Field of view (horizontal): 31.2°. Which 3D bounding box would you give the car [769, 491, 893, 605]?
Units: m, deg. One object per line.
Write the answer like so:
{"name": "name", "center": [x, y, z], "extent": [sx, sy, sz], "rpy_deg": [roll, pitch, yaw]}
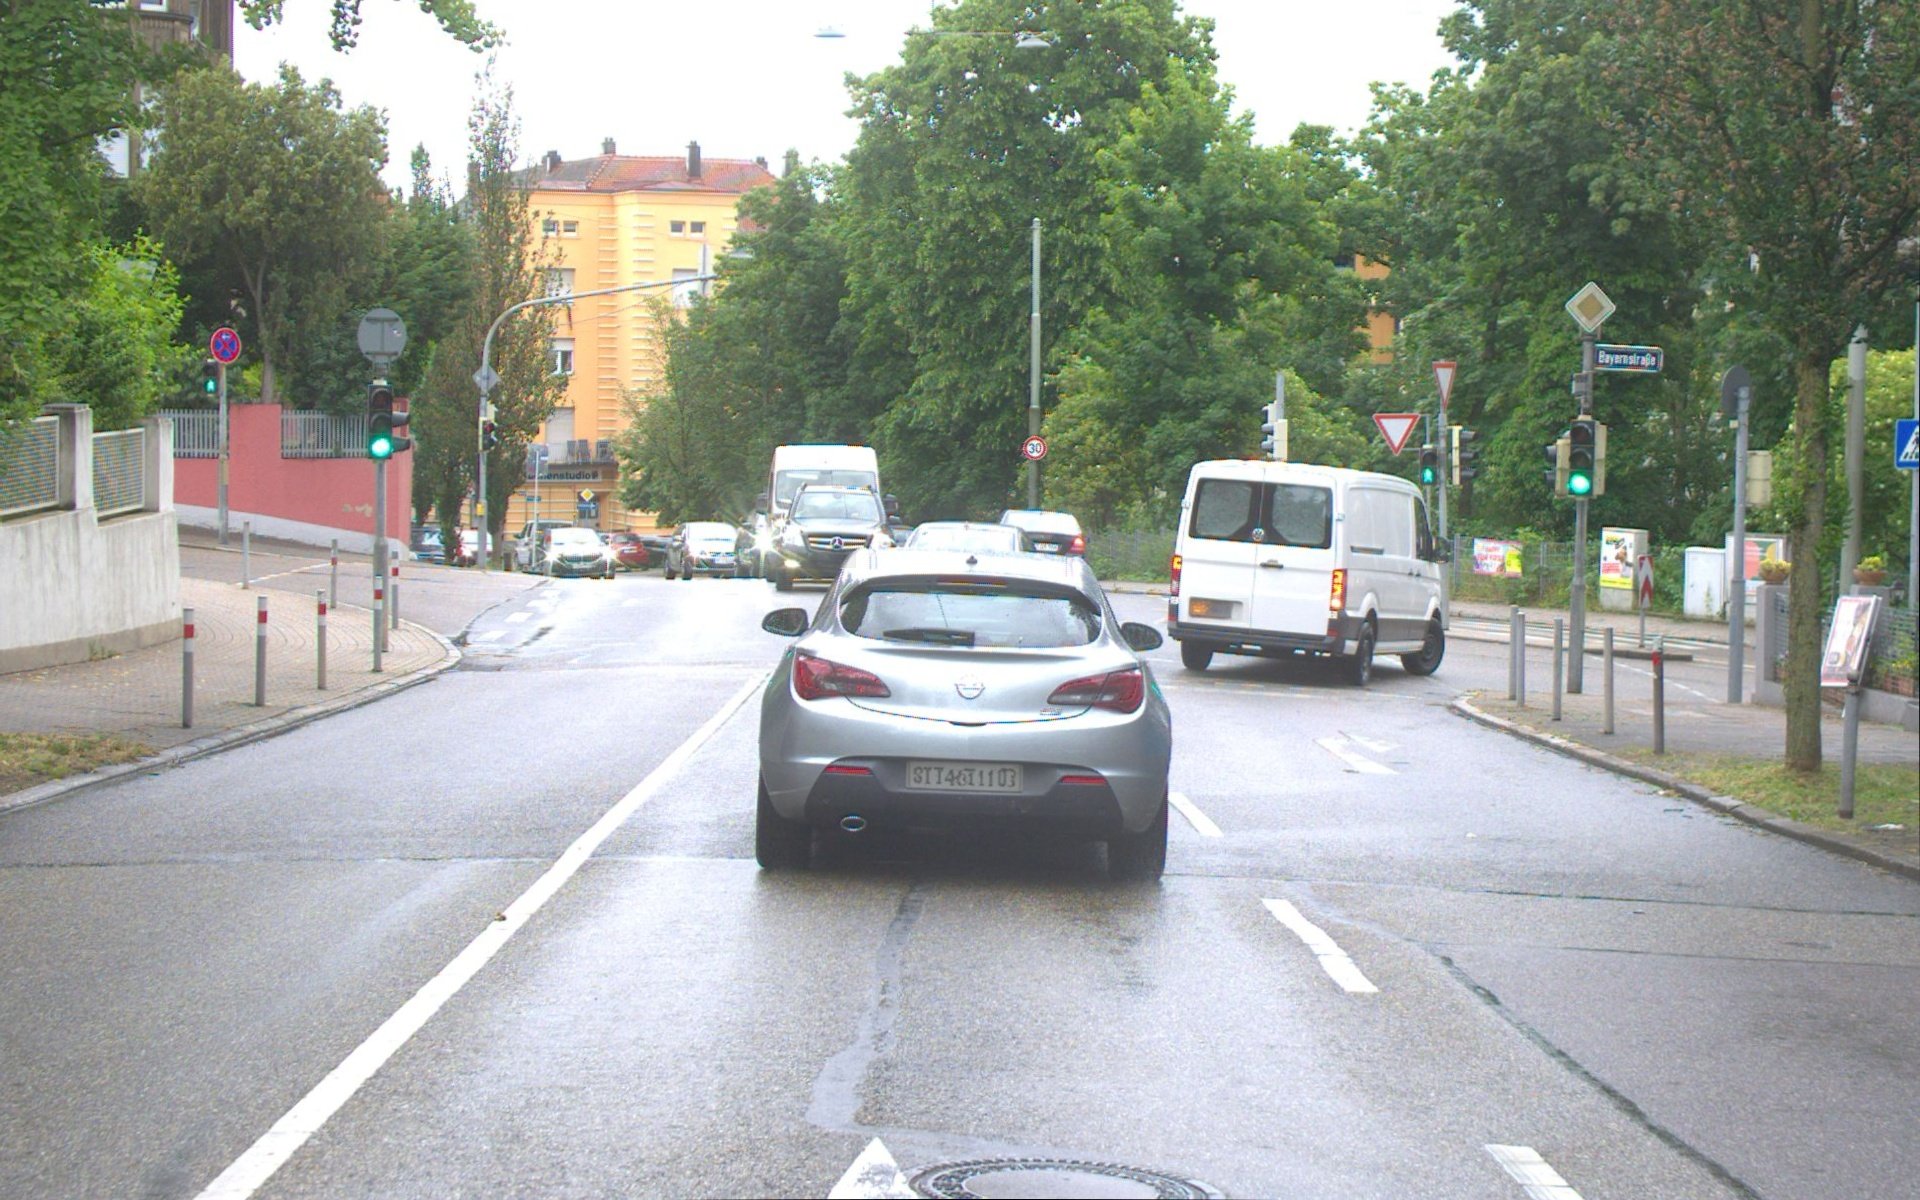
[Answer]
{"name": "car", "center": [-2.062, -0.861, 54.165], "extent": [1.821, 1.646, 4.347], "rpy_deg": [2, 2, -3]}

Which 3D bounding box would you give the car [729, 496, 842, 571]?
{"name": "car", "center": [-3.909, -1.467, 76.209], "extent": [1.874, 1.569, 4.587], "rpy_deg": [1, 1, -11]}

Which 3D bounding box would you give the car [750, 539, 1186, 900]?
{"name": "car", "center": [0.016, 0.473, 16.546], "extent": [1.815, 1.425, 4.001], "rpy_deg": [1, 2, -1]}

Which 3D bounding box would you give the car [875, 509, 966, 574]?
{"name": "car", "center": [-0.959, -1.367, 81.422], "extent": [1.620, 1.481, 3.437], "rpy_deg": [0, 0, -10]}

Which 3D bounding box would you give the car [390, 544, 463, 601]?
{"name": "car", "center": [-15.959, -0.816, 102.691], "extent": [1.814, 1.607, 4.001], "rpy_deg": [2, 0, -13]}

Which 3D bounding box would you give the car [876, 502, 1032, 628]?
{"name": "car", "center": [-0.095, -0.386, 41.077], "extent": [1.776, 1.425, 3.785], "rpy_deg": [0, 0, -1]}

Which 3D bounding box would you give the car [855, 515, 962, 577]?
{"name": "car", "center": [-1.423, -1.465, 93.829], "extent": [1.814, 1.490, 4.001], "rpy_deg": [-5, 1, -16]}

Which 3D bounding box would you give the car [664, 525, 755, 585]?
{"name": "car", "center": [-6.439, -1.153, 87.951], "extent": [1.773, 1.492, 4.264], "rpy_deg": [0, 1, -12]}

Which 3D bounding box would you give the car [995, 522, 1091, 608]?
{"name": "car", "center": [1.394, -0.619, 58.690], "extent": [1.383, 1.407, 3.457], "rpy_deg": [0, 1, -3]}

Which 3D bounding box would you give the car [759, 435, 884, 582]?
{"name": "car", "center": [-2.574, -1.634, 62.677], "extent": [2.117, 2.537, 5.541], "rpy_deg": [0, 1, -4]}

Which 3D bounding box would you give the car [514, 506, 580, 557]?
{"name": "car", "center": [-15.566, -2.560, 129.397], "extent": [1.781, 1.848, 4.001], "rpy_deg": [1, 0, -17]}

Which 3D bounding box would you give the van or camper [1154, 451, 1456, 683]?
{"name": "van or camper", "center": [3.978, -0.384, 38.669], "extent": [2.106, 2.318, 5.412], "rpy_deg": [4, 2, 19]}

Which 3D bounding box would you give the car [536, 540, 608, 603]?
{"name": "car", "center": [-10.401, -0.790, 92.426], "extent": [1.852, 1.481, 5.369], "rpy_deg": [0, 3, -6]}

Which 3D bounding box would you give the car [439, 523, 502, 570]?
{"name": "car", "center": [-18.134, -1.988, 127.241], "extent": [1.845, 1.578, 4.280], "rpy_deg": [4, 0, -13]}

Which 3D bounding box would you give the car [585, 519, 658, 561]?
{"name": "car", "center": [-13.102, -2.304, 132.948], "extent": [1.814, 1.462, 4.001], "rpy_deg": [-4, 2, -19]}
